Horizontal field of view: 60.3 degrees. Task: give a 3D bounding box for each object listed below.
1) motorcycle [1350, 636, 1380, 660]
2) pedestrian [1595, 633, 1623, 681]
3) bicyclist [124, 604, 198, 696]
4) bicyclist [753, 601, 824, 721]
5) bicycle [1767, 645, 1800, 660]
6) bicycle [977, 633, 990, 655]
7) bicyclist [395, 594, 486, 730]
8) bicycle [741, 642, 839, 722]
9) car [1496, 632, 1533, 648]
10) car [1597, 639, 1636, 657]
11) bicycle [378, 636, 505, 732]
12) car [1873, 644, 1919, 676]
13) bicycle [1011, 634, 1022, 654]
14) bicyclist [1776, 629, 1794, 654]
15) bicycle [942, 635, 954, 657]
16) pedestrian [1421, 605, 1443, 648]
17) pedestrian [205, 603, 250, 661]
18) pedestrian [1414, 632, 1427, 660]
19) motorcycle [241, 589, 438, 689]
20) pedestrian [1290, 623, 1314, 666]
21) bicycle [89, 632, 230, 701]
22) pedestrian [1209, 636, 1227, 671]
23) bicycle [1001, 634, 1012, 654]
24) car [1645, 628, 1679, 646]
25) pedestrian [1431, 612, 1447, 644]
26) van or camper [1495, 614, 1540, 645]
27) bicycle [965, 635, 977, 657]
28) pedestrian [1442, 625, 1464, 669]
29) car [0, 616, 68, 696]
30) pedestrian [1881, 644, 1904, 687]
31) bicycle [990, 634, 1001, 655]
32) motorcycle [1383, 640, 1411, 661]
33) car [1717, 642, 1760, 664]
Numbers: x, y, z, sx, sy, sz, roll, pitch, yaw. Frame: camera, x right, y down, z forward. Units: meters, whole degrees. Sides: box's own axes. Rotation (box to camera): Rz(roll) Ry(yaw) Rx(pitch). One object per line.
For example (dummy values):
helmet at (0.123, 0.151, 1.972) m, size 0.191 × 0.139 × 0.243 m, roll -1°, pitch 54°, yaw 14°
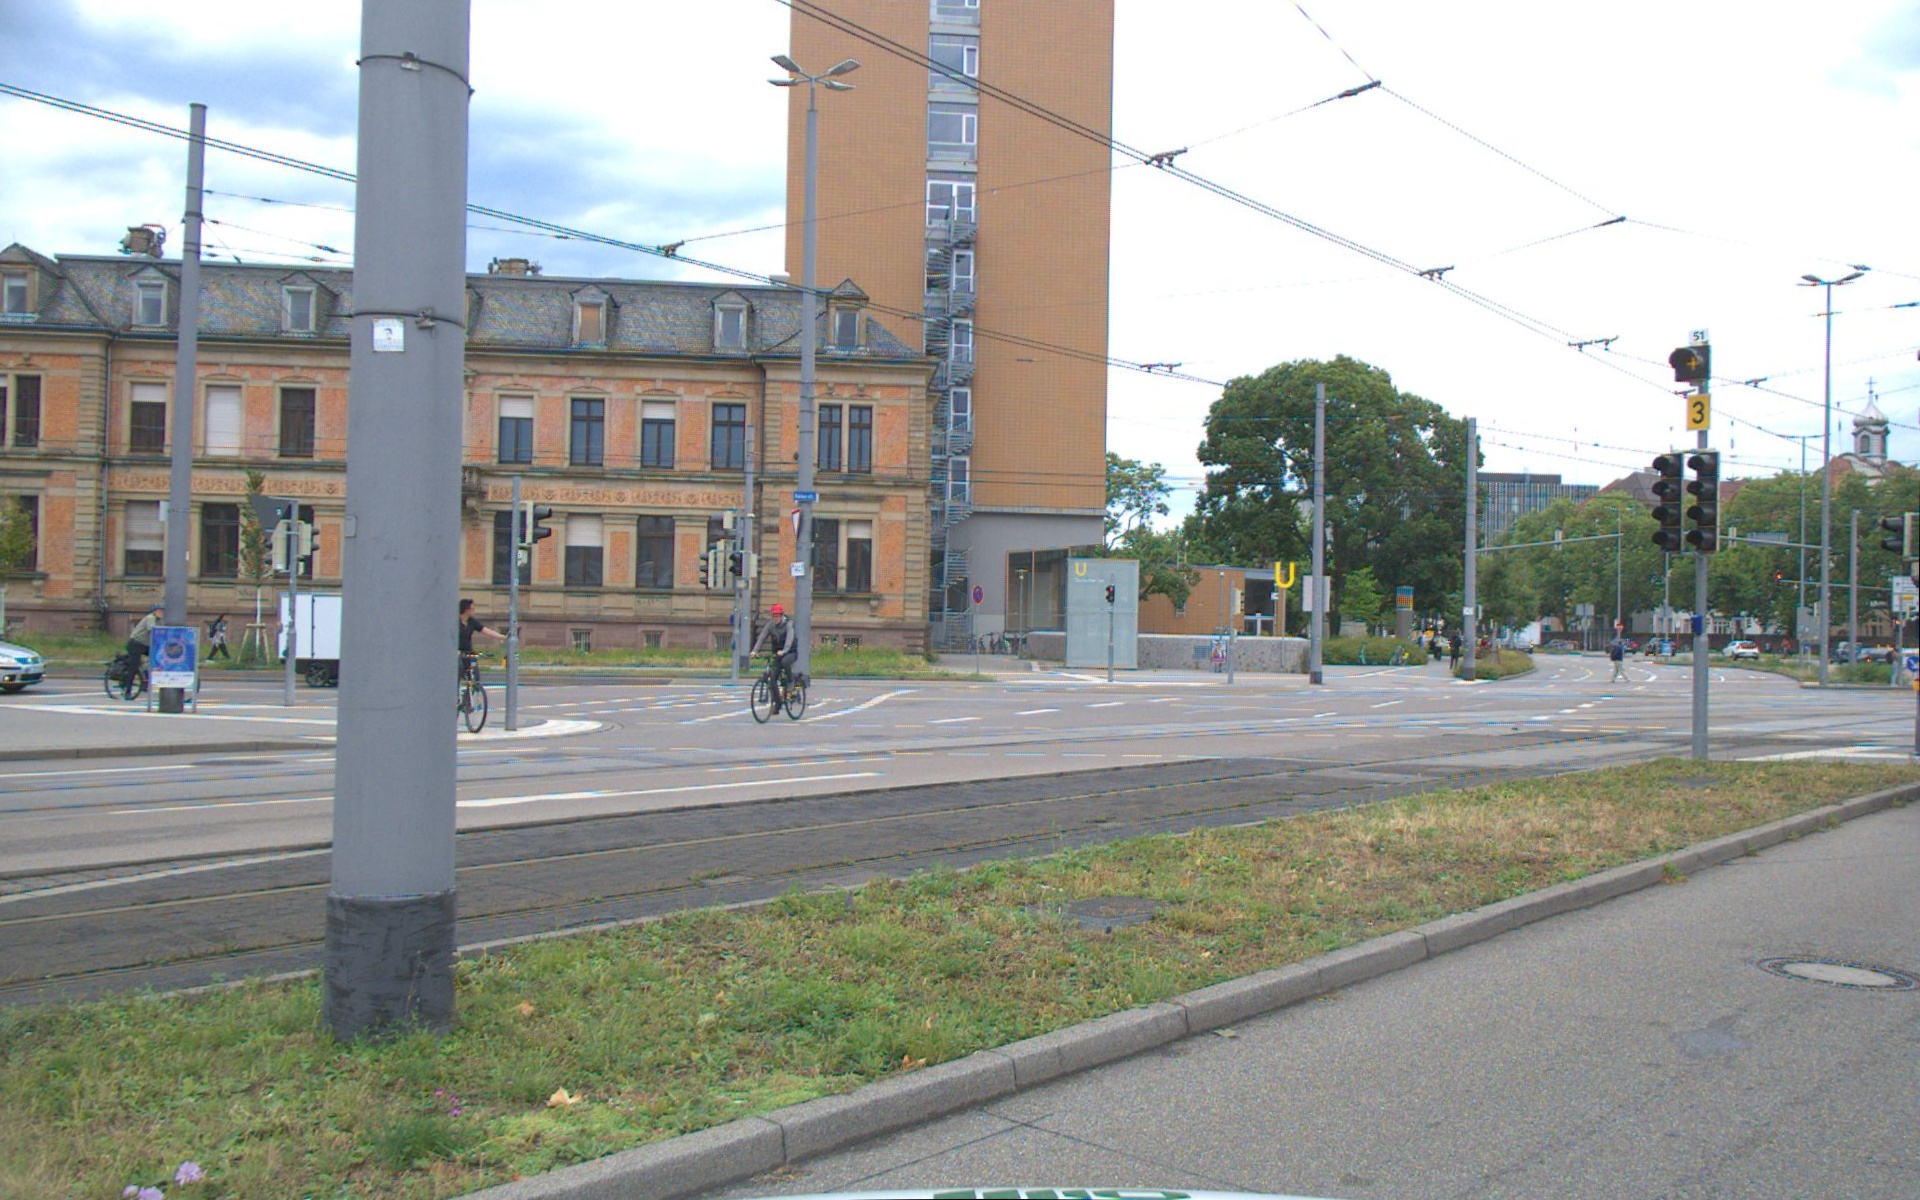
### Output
motorcycle at (21.491, 2.547, 87.822) m, size 1.439 × 1.290 × 0.511 m, roll 1°, pitch -1°, yaw -6°
pedestrian at (27.154, 2.390, 69.196) m, size 1.005 × 1.968 × 0.701 m, roll 1°, pitch -1°, yaw 15°
bicyclist at (-14.685, 0.912, 30.417) m, size 0.896 × 1.652 × 0.855 m, roll 1°, pitch -2°, yaw 0°
bicyclist at (-2.787, 0.984, 26.996) m, size 0.811 × 1.925 × 1.049 m, roll -1°, pitch -1°, yaw 16°
bicycle at (67.706, 4.329, 135.955) m, size 2.682 × 1.199 × 0.936 m, roll 1°, pitch -1°, yaw -22°
bicycle at (1.220, 2.300, 86.786) m, size 0.559 × 1.125 × 1.427 m, roll 1°, pitch -1°, yaw -2°
bicyclist at (-7.228, 0.835, 23.005) m, size 1.011 × 1.830 × 0.811 m, roll 0°, pitch 0°, yaw 42°
bicycle at (-2.759, 1.311, 27.095) m, size 0.806 × 1.229 × 2.235 m, roll 0°, pitch -1°, yaw 17°
car at (53.214, 3.831, 158.734) m, size 1.743 × 1.490 × 3.992 m, roll 1°, pitch -1°, yaw -8°
car at (61.560, 4.495, 155.213) m, size 1.741 × 1.489 × 3.995 m, roll 1°, pitch 0°, yaw -5°
bicycle at (-7.229, 1.144, 22.999) m, size 1.964 × 1.264 × 0.811 m, roll -2°, pitch -1°, yaw 42°
car at (53.137, 3.382, 93.501) m, size 1.952 × 1.713 × 4.001 m, roll 1°, pitch -2°, yaw 18°
bicycle at (2.970, 2.305, 86.937) m, size 0.471 × 1.067 × 1.427 m, roll 1°, pitch -1°, yaw -2°
bicyclist at (67.833, 3.406, 136.008) m, size 0.961 × 2.049 × 0.934 m, roll 1°, pitch -1°, yaw -21°
bicycle at (-0.611, 2.382, 86.634) m, size 0.559 × 1.125 × 1.427 m, roll 1°, pitch -1°, yaw -2°
pedestrian at (22.368, 1.248, 78.419) m, size 0.910 × 1.982 × 0.912 m, roll 1°, pitch -1°, yaw 21°
pedestrian at (-23.057, 1.019, 52.066) m, size 1.104 × 1.794 × 0.756 m, roll 1°, pitch -1°, yaw -13°
pedestrian at (33.919, 3.419, 121.817) m, size 0.860 × 2.016 × 0.796 m, roll 1°, pitch -2°, yaw 22°
motorcycle at (-13.447, 0.843, 36.011) m, size 3.601 × 2.049 × 1.695 m, roll 1°, pitch -1°, yaw -2°
pedestrian at (16.719, 2.175, 80.809) m, size 0.999 × 2.049 × 0.846 m, roll 1°, pitch -1°, yaw 21°
bicycle at (-14.695, 1.212, 30.405) m, size 2.146 × 1.229 × 0.857 m, roll 1°, pitch -2°, yaw 0°
pedestrian at (10.138, 2.106, 64.990) m, size 0.561 × 1.359 × 0.498 m, roll 1°, pitch -1°, yaw -10°
bicycle at (2.451, 2.309, 86.910) m, size 0.471 × 1.067 × 1.427 m, roll 1°, pitch -1°, yaw -2°
car at (61.942, 3.280, 145.920) m, size 1.738 × 1.489 × 4.003 m, roll 1°, pitch 0°, yaw 7°
pedestrian at (30.822, 1.829, 106.391) m, size 0.776 × 2.016 × 0.881 m, roll 1°, pitch -2°, yaw 5°
van or camper at (59.319, 3.122, 176.046) m, size 2.343 × 3.179 × 5.493 m, roll 1°, pitch -1°, yaw -8°
bicycle at (0.560, 2.416, 86.713) m, size 0.559 × 1.125 × 1.427 m, roll 1°, pitch -1°, yaw -2°
pedestrian at (23.271, 2.221, 78.104) m, size 0.909 × 2.049 × 1.012 m, roll 1°, pitch -2°, yaw 20°
car at (-19.878, 1.048, 32.193) m, size 4.061 × 1.479 × 1.762 m, roll 1°, pitch -1°, yaw 3°
pedestrian at (34.677, 2.445, 61.501) m, size 0.713 × 1.569 × 0.417 m, roll 1°, pitch -1°, yaw 28°
bicycle at (1.872, 2.317, 86.822) m, size 0.498 × 1.067 × 1.427 m, roll 1°, pitch -1°, yaw -2°
motorcycle at (23.417, 2.706, 88.686) m, size 1.726 × 1.131 × 0.505 m, roll 2°, pitch -1°, yaw -38°
car at (58.764, 4.004, 124.907) m, size 1.738 × 1.489 × 4.003 m, roll 1°, pitch 0°, yaw 7°
